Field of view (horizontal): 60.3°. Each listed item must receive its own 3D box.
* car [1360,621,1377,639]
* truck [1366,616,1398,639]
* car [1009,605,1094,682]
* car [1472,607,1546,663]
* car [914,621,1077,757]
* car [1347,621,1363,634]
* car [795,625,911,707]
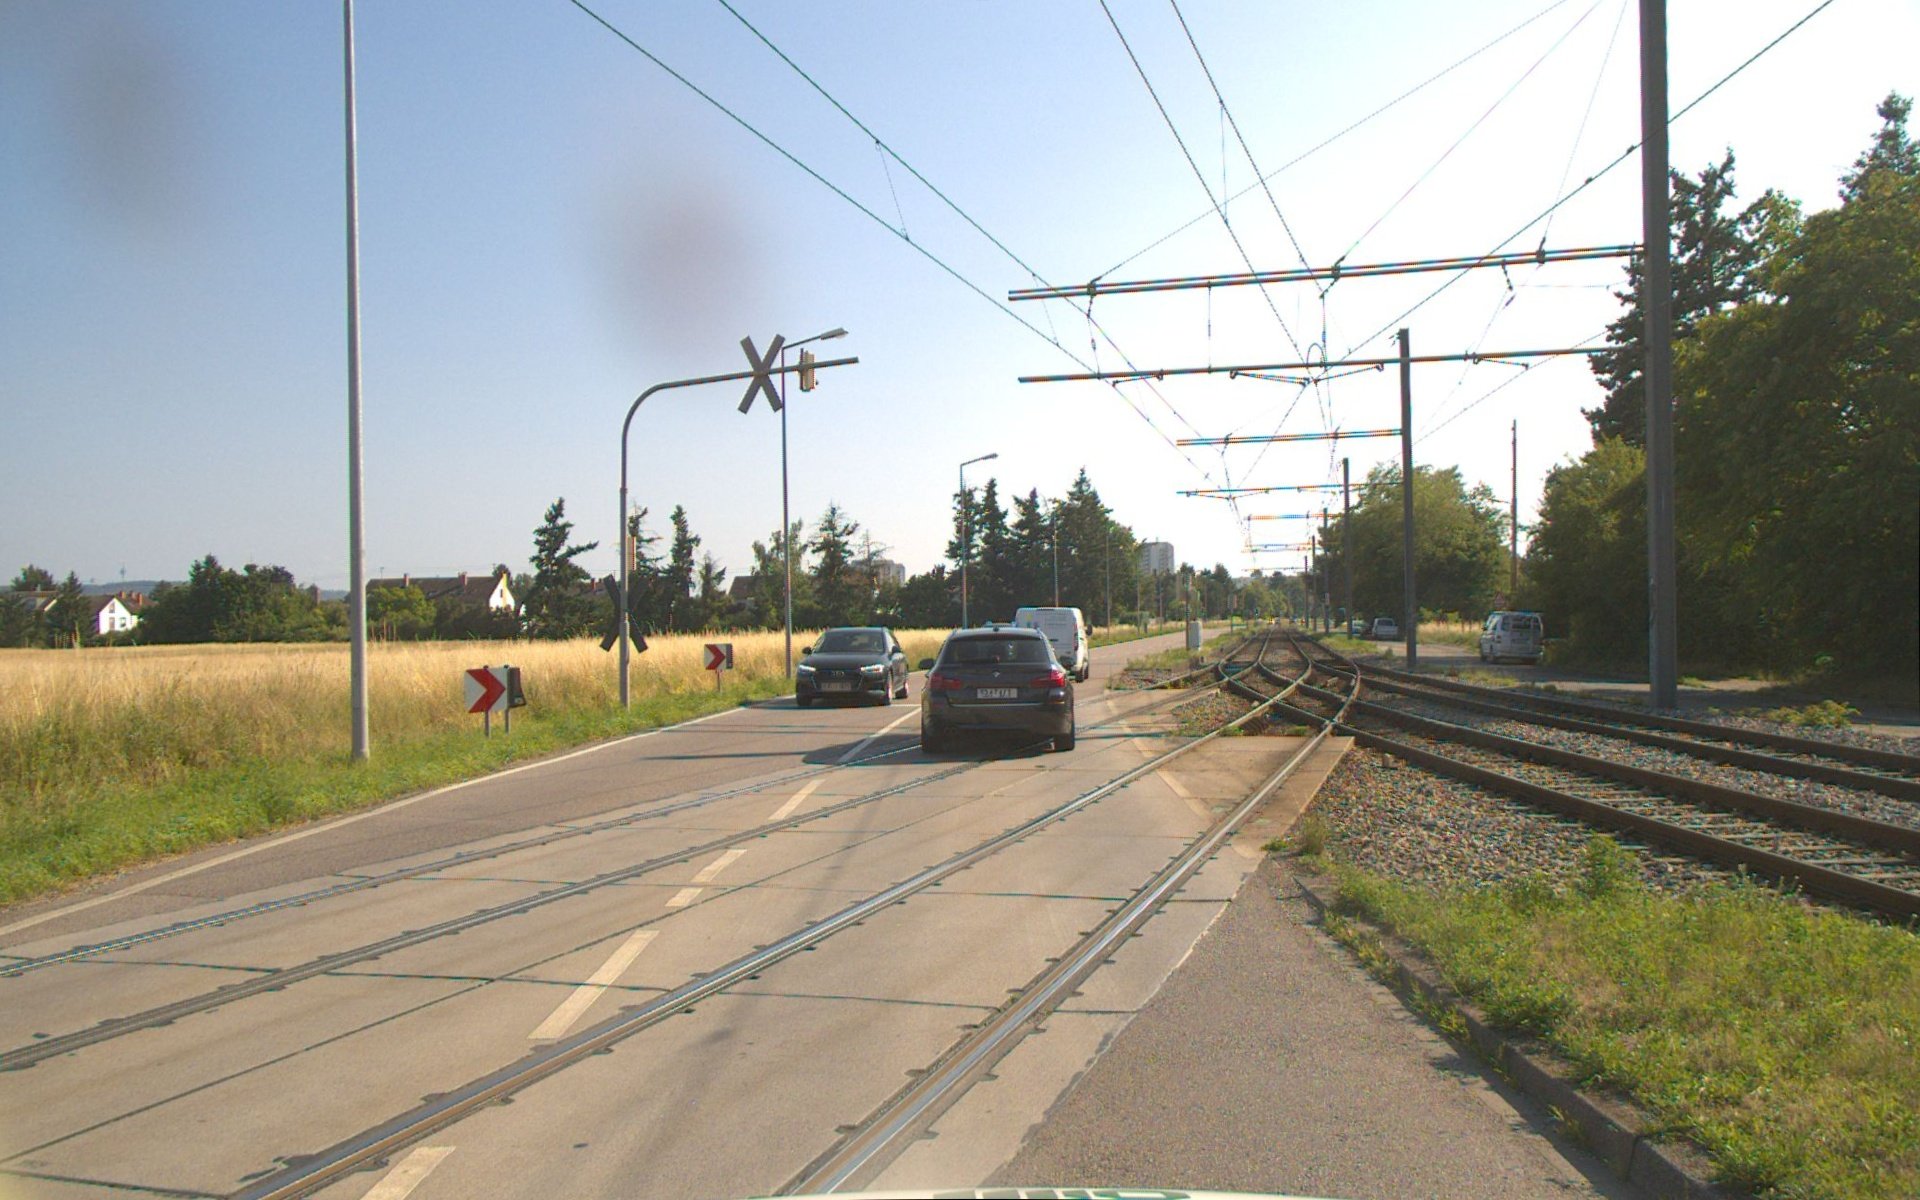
[{"bbox_3d":[41.089,2.983,166.407,1.698,1.709,3.546,0,-2,13],"label":"car"},{"bbox_3d":[35.402,2.328,138.847,2.157,1.851,5.934,-1,-1,10],"label":"truck"},{"bbox_3d":[2.612,1.158,46.140,1.818,2.023,5.112,0,-1,9],"label":"car"},{"bbox_3d":[21.374,1.365,64.589,1.951,2.039,5.071,2,-1,10],"label":"car"},{"bbox_3d":[0.445,1.033,21.036,1.830,1.478,4.744,0,0,1],"label":"car"},{"bbox_3d":[43.978,3.053,184.159,1.586,1.423,3.492,0,-2,11],"label":"car"},{"bbox_3d":[-2.007,1.226,32.225,1.657,1.465,4.286,0,-1,4],"label":"car"}]
